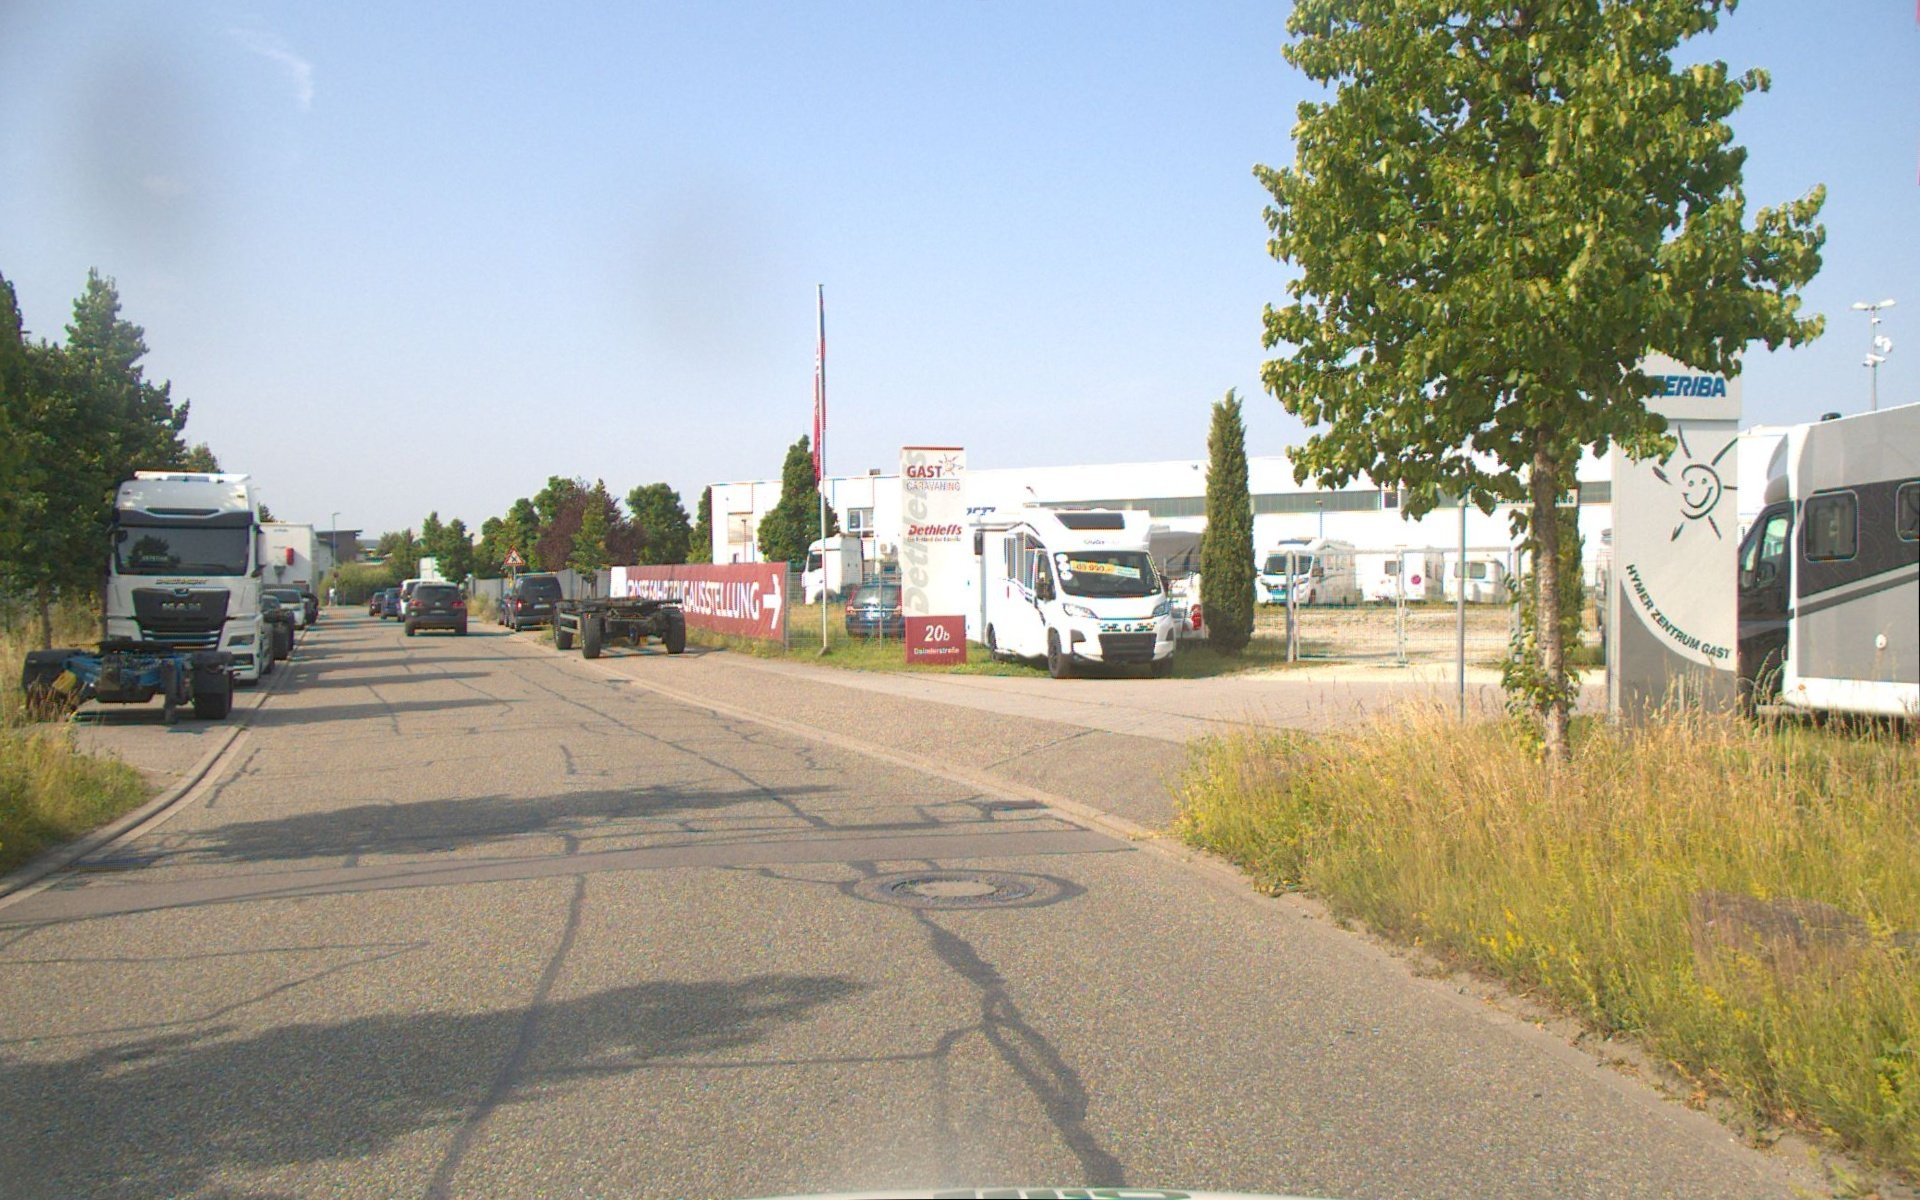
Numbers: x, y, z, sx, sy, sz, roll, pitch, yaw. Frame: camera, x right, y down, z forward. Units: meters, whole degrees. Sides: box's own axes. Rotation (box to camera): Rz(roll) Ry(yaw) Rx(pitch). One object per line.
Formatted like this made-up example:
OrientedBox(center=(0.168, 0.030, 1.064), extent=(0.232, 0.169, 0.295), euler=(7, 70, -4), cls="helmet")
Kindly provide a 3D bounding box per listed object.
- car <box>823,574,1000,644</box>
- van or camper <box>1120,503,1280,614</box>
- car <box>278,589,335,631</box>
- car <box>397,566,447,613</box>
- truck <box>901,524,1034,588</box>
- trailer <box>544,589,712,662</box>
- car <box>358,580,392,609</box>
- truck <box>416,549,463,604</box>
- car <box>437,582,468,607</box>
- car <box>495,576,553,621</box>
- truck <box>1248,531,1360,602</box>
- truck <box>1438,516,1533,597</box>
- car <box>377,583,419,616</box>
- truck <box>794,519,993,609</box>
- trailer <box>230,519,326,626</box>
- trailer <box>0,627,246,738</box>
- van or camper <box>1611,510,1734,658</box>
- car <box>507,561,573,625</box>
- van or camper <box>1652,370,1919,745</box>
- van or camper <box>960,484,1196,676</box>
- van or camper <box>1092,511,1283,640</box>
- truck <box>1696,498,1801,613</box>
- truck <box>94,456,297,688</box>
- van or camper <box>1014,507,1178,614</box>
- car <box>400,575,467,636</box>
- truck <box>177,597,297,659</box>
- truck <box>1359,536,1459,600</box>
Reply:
OrientedBox(center=(-1.114, 0.186, 39.433), extent=(2.132, 1.502, 3.980), euler=(0, 2, 39), cls="car")
OrientedBox(center=(7.566, -1.317, 51.074), extent=(2.890, 3.137, 7.968), euler=(0, 2, 24), cls="van or camper")
OrientedBox(center=(-24.877, 0.357, 63.040), extent=(1.783, 1.452, 3.978), euler=(-2, 1, -19), cls="car")
OrientedBox(center=(-23.965, -0.504, 73.795), extent=(1.961, 1.932, 4.448), euler=(-1, 2, -16), cls="car")
OrientedBox(center=(0.443, -1.844, 68.949), extent=(2.402, 2.514, 7.997), euler=(0, 2, 25), cls="truck")
OrientedBox(center=(-8.494, 0.525, 41.314), extent=(2.586, 1.412, 9.397), euler=(-4, 2, -20), cls="trailer")
OrientedBox(center=(-38.087, -0.393, 107.608), extent=(1.965, 1.802, 3.975), euler=(-1, 1, -21), cls="car")
OrientedBox(center=(-36.468, -1.663, 115.778), extent=(2.844, 3.648, 8.018), euler=(-3, 2, -19), cls="truck")
OrientedBox(center=(-32.486, -0.372, 105.815), extent=(1.791, 1.474, 3.781), euler=(-3, 2, -19), cls="car")
OrientedBox(center=(-16.636, -0.085, 63.008), extent=(1.791, 1.474, 3.781), euler=(-5, 3, -19), cls="car")
OrientedBox(center=(13.232, -1.309, 63.072), extent=(2.402, 2.514, 7.997), euler=(0, 2, 25), cls="truck")
OrientedBox(center=(20.029, -1.655, 62.768), extent=(2.402, 2.875, 7.997), euler=(0, 2, 25), cls="truck")
OrientedBox(center=(-30.350, -0.040, 89.244), extent=(1.965, 1.668, 3.975), euler=(-1, 1, -21), cls="car")
OrientedBox(center=(-3.143, -1.640, 77.636), extent=(9.094, 4.041, 2.458), euler=(0, 1, 22), cls="truck")
OrientedBox(center=(-30.971, -1.238, 75.600), extent=(3.354, 4.415, 13.837), euler=(-1, 1, -20), cls="trailer")
OrientedBox(center=(-11.246, 1.031, 22.511), extent=(2.537, 1.119, 5.169), euler=(-1, 1, -21), cls="trailer")
OrientedBox(center=(13.732, -0.358, 32.149), extent=(1.953, 2.578, 6.151), euler=(-1, 1, 22), cls="van or camper")
OrientedBox(center=(-14.716, -0.287, 57.858), extent=(1.791, 2.012, 3.979), euler=(-5, 3, -19), cls="car")
OrientedBox(center=(8.519, -0.346, 13.175), extent=(2.304, 2.897, 7.332), euler=(-1, 1, -6), cls="van or camper")
OrientedBox(center=(1.891, -0.397, 29.644), extent=(2.290, 2.994, 6.949), euler=(-1, 1, -13), cls="van or camper")
OrientedBox(center=(5.211, -0.612, 36.841), extent=(2.433, 2.603, 6.623), euler=(0, 2, 24), cls="van or camper")
OrientedBox(center=(21.806, -1.234, 45.856), extent=(2.402, 2.895, 7.997), euler=(0, 2, 25), cls="truck")
OrientedBox(center=(-15.765, -0.568, 34.977), extent=(2.587, 3.997, 12.846), euler=(-1, 1, -19), cls="truck")
OrientedBox(center=(4.460, -1.287, 52.459), extent=(2.742, 3.137, 7.968), euler=(0, 2, 24), cls="van or camper")
OrientedBox(center=(-17.449, 0.145, 54.689), extent=(1.964, 1.836, 3.978), euler=(-1, 2, -19), cls="car")
OrientedBox(center=(-18.566, 0.659, 42.765), extent=(2.488, 1.287, 6.486), euler=(-2, 2, -21), cls="truck")
OrientedBox(center=(17.471, -1.289, 64.029), extent=(2.402, 2.304, 7.997), euler=(0, 2, 25), cls="truck")
